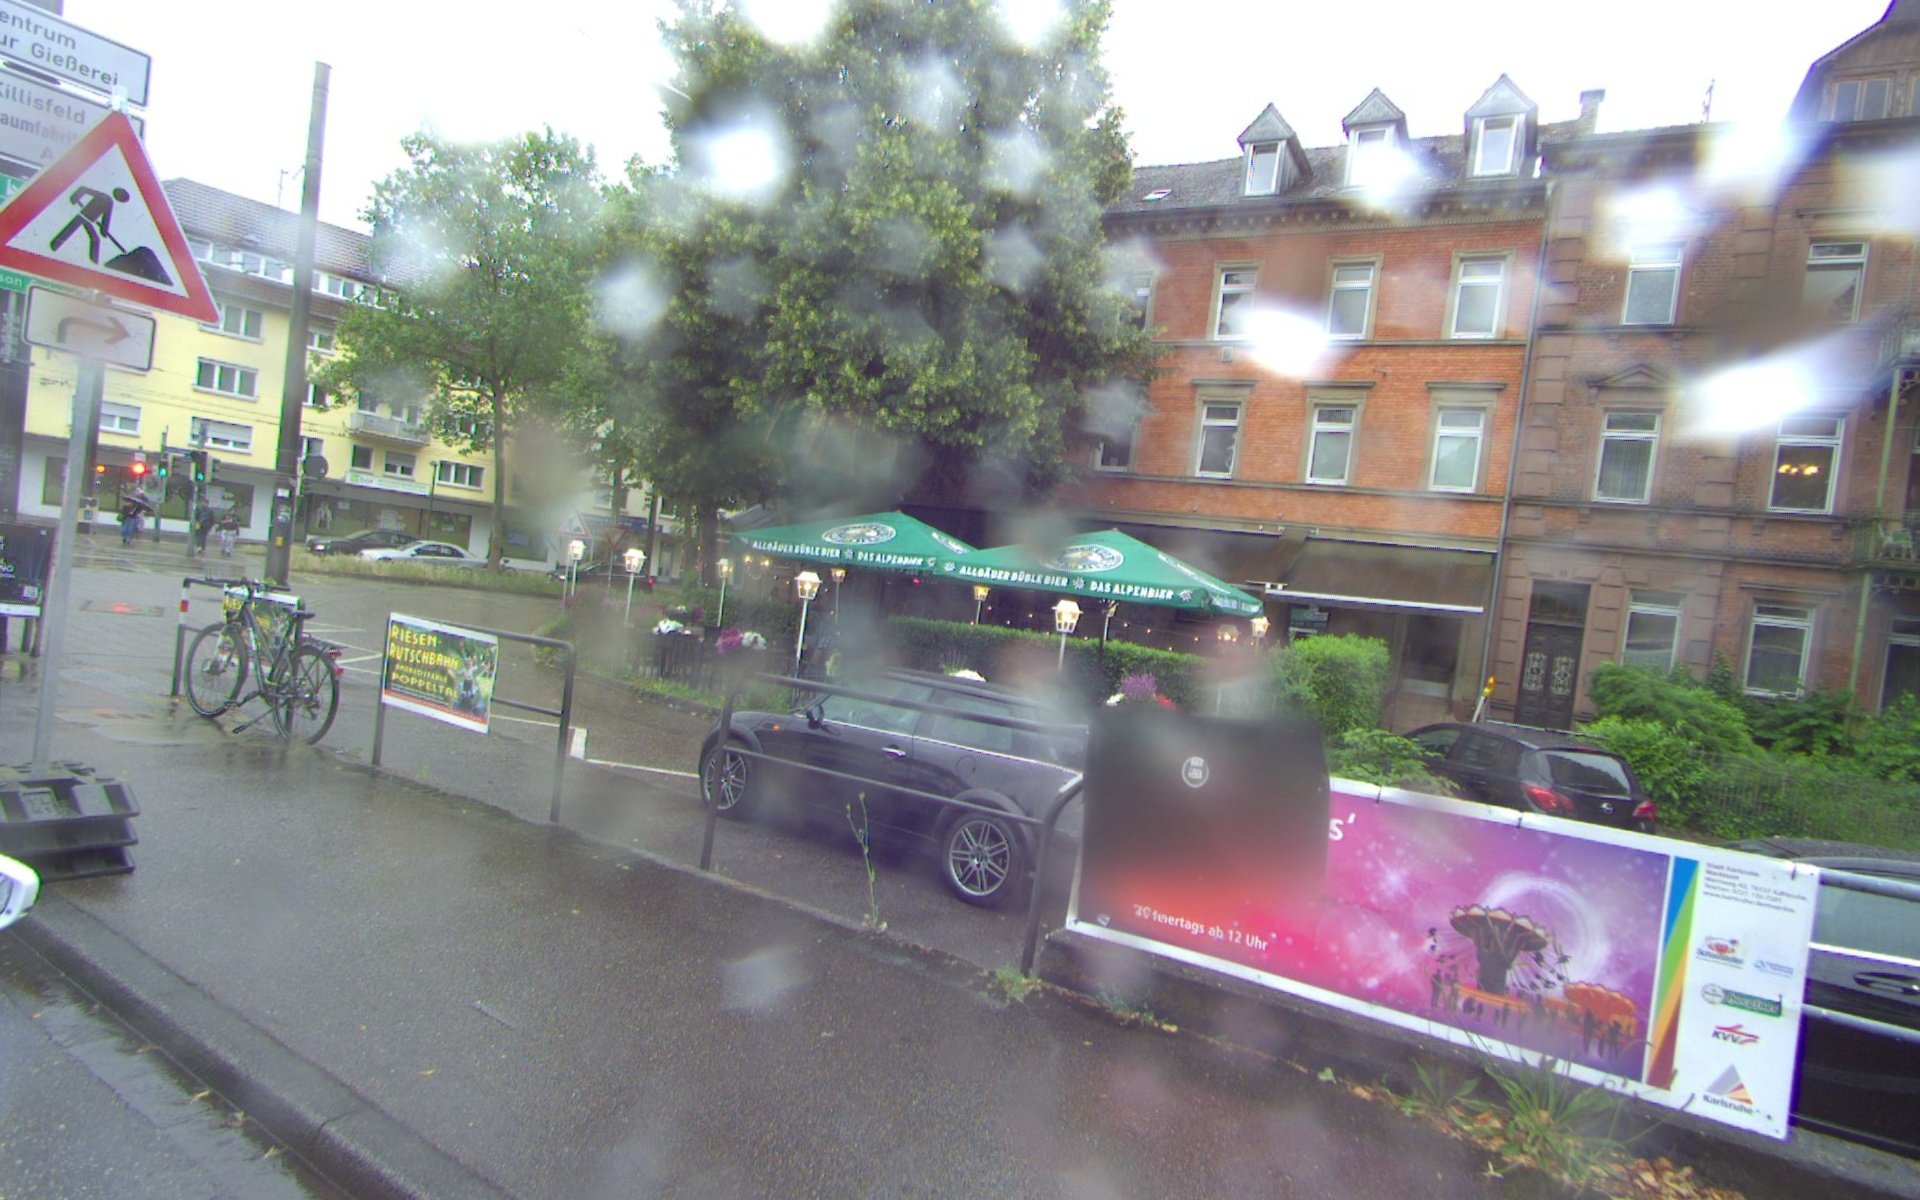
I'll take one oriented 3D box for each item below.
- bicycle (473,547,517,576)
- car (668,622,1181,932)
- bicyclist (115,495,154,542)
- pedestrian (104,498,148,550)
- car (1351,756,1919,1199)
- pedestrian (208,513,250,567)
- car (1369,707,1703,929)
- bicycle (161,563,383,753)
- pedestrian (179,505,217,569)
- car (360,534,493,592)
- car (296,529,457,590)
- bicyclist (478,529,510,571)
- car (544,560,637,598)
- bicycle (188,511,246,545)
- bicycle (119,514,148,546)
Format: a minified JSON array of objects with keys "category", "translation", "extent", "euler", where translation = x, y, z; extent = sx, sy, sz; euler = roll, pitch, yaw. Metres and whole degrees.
[{"category":"bicycle","translation":[-19.682,-1.609,42.649],"extent":[0.415,1.013,1.640],"euler":[7,-1,32]},{"category":"car","translation":[-0.334,1.213,7.794],"extent":[3.468,1.457,1.710],"euler":[8,-3,34]},{"category":"bicyclist","translation":[-30.065,-2.963,36.653],"extent":[0.929,1.566,1.058],"euler":[8,-1,-38]},{"category":"pedestrian","translation":[-26.836,-2.433,32.375],"extent":[0.612,1.552,0.816],"euler":[7,0,-6]},{"category":"car","translation":[4.210,1.853,4.952],"extent":[3.907,1.416,1.706],"euler":[7,-1,32]},{"category":"pedestrian","translation":[-24.723,-2.013,34.037],"extent":[0.898,1.689,1.011],"euler":[7,-1,-32]},{"category":"car","translation":[6.683,2.432,12.281],"extent":[1.962,1.733,4.004],"euler":[7,-1,7]},{"category":"bicycle","translation":[-5.159,0.401,7.492],"extent":[1.984,1.119,0.515],"euler":[7,-3,34]},{"category":"pedestrian","translation":[-25.759,-2.117,34.022],"extent":[0.790,2.038,0.853],"euler":[7,0,-33]},{"category":"car","translation":[-19.707,-1.356,37.269],"extent":[3.926,1.508,1.784],"euler":[8,0,-43]},{"category":"car","translation":[-22.425,-1.516,38.818],"extent":[1.975,1.661,4.928],"euler":[3,-4,43]},{"category":"bicyclist","translation":[-19.692,-2.127,42.549],"extent":[0.699,1.634,0.815],"euler":[7,-1,33]},{"category":"car","translation":[-15.495,-0.872,42.269],"extent":[1.227,1.095,3.531],"euler":[7,-2,34]},{"category":"bicycle","translation":[-35.582,-3.429,48.192],"extent":[2.096,1.277,0.525],"euler":[8,0,-44]},{"category":"bicycle","translation":[-30.043,-2.536,36.583],"extent":[0.654,1.039,2.003],"euler":[8,-1,-37]}]
